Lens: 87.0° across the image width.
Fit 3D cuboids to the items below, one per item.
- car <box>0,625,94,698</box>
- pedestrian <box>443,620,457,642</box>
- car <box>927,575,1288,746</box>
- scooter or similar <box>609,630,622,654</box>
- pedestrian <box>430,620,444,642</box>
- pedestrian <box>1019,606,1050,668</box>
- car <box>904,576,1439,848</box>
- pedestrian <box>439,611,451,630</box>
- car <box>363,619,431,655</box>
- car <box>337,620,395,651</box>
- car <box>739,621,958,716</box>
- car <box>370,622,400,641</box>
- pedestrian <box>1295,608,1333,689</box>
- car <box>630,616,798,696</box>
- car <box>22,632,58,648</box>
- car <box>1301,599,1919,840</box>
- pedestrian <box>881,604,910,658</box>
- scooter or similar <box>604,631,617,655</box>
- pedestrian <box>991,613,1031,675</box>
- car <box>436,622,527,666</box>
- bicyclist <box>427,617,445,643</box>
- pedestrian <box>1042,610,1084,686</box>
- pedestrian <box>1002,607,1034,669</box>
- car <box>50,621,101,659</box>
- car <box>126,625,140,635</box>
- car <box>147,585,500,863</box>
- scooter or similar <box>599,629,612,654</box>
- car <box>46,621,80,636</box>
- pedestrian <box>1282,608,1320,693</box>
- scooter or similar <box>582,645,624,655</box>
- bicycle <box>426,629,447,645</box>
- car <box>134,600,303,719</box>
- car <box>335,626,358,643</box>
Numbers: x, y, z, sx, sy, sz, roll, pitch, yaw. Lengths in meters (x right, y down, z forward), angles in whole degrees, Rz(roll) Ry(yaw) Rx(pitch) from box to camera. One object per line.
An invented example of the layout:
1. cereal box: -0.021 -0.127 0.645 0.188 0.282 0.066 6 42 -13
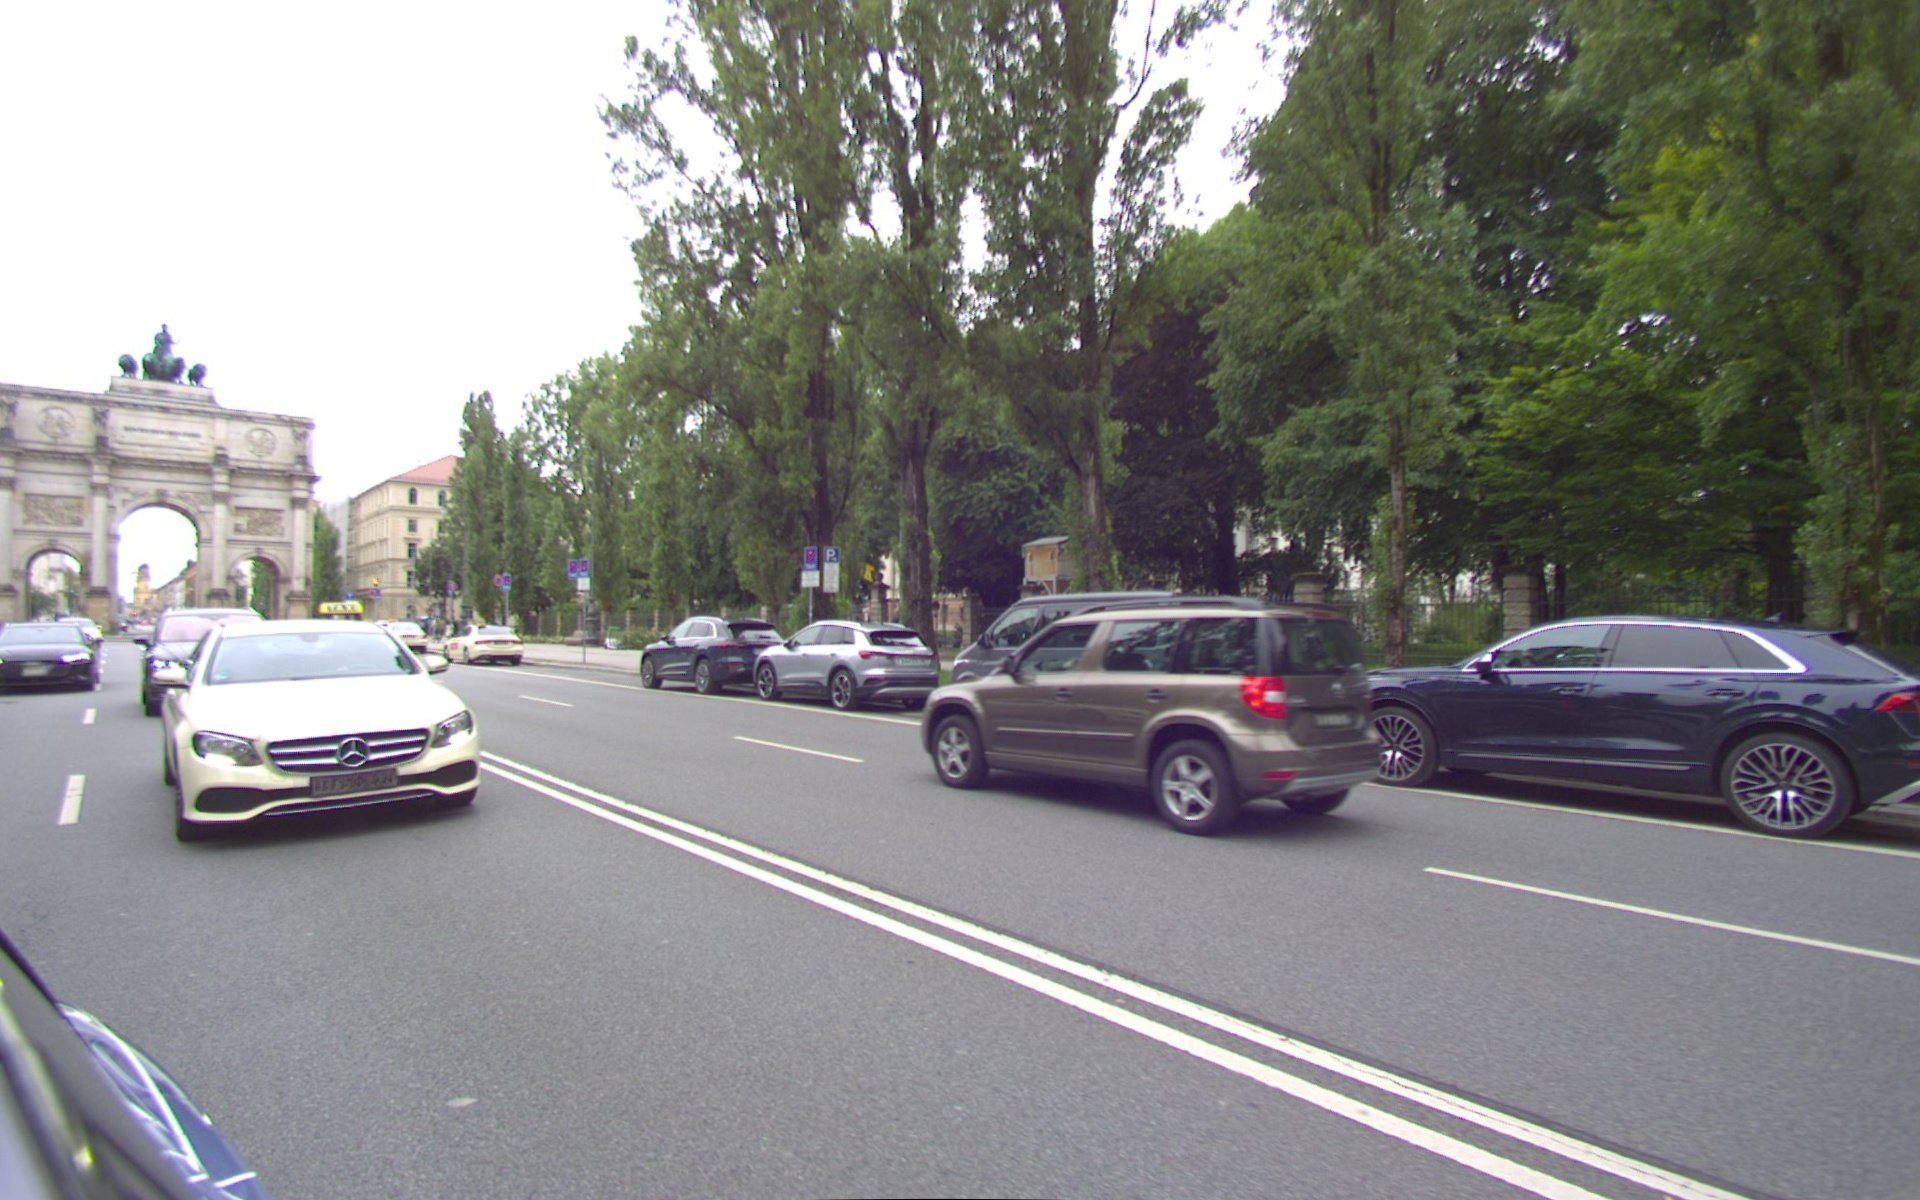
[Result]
1. car: -19.553 1.228 21.320 1.894 1.338 4.417 -1 0 -42
2. pedestrian: -38.730 2.343 76.857 0.833 1.691 0.969 1 -2 -34
3. car: 1.860 0.796 14.224 1.969 1.971 4.944 3 -3 -40
4. scooter or similar: -17.698 2.171 51.960 0.240 1.210 1.124 1 -2 -40
5. pedestrian: -39.580 2.348 76.599 0.833 1.691 0.969 1 -2 -34
6. pedestrian: 2.089 1.026 28.416 0.502 1.720 0.724 0 -2 -39
7. car: 1.497 0.761 8.374 1.763 1.669 4.119 3 -3 -41
8. pedestrian: -55.253 2.230 108.573 0.749 2.029 0.791 -1 -2 15
9. car: -27.006 1.739 48.456 1.913 1.637 4.973 2 -2 -40
10. car: -31.574 1.863 53.707 1.795 1.571 4.866 4 -3 -40
11. car: -2.251 1.227 19.349 1.867 1.596 4.661 2 -3 -40
12. car: -60.207 3.304 105.913 1.973 1.869 5.000 3 -2 -38
13. pedestrian: 7.475 1.009 21.374 0.542 1.682 0.533 0 -1 -41
14. car: -5.629 1.225 22.754 1.760 1.608 4.620 4 -4 -40
15. car: -103.466 4.489 113.835 1.757 1.763 4.334 1 -2 -24
16. car: 5.818 0.887 9.027 1.792 1.621 5.061 4 -4 -40
17. pedestrian: -2.021 0.960 31.775 0.610 1.672 0.705 0 -2 -39
18. scooter or similar: -17.899 2.170 51.795 0.240 1.210 1.124 1 -2 -40
19. pedestrian: 1.357 1.156 26.946 0.700 1.630 0.792 1 -2 -40
20. car: -17.671 1.614 37.262 1.906 1.509 4.798 2 -3 -39
21. bicyclist: -30.919 1.750 59.712 0.685 1.510 0.862 2 -3 -42
22. pedestrian: 2.404 1.101 23.620 0.575 1.733 0.788 0 -2 -42
23. pedestrian: 1.606 1.036 27.984 0.542 1.682 0.674 0 -2 -39
24. car: -46.512 2.062 53.288 1.861 1.871 4.320 1 -2 -39
25. car: -155.635 5.631 190.423 1.969 2.029 4.401 1 -2 -41
26. car: -5.414 0.736 8.272 1.890 1.587 4.698 -1 0 -39
27. scooter or similar: -18.105 2.116 51.625 0.255 1.251 1.143 1 -2 -39
28. car: -105.676 3.352 119.217 1.757 1.763 4.334 1 -2 -24
29. pedestrian: 7.064 1.030 20.964 0.542 1.714 0.533 0 -1 -41
30. scooter or similar: -19.564 2.725 55.551 1.317 0.522 2.230 0 -2 9
31. bicycle: -30.854 2.178 59.622 0.699 0.946 1.737 0 -1 -41
32. car: -12.293 0.872 16.647 1.924 1.636 4.418 -1 0 -40
33. car: -62.484 3.469 103.051 1.757 1.684 4.009 1 -2 -36
